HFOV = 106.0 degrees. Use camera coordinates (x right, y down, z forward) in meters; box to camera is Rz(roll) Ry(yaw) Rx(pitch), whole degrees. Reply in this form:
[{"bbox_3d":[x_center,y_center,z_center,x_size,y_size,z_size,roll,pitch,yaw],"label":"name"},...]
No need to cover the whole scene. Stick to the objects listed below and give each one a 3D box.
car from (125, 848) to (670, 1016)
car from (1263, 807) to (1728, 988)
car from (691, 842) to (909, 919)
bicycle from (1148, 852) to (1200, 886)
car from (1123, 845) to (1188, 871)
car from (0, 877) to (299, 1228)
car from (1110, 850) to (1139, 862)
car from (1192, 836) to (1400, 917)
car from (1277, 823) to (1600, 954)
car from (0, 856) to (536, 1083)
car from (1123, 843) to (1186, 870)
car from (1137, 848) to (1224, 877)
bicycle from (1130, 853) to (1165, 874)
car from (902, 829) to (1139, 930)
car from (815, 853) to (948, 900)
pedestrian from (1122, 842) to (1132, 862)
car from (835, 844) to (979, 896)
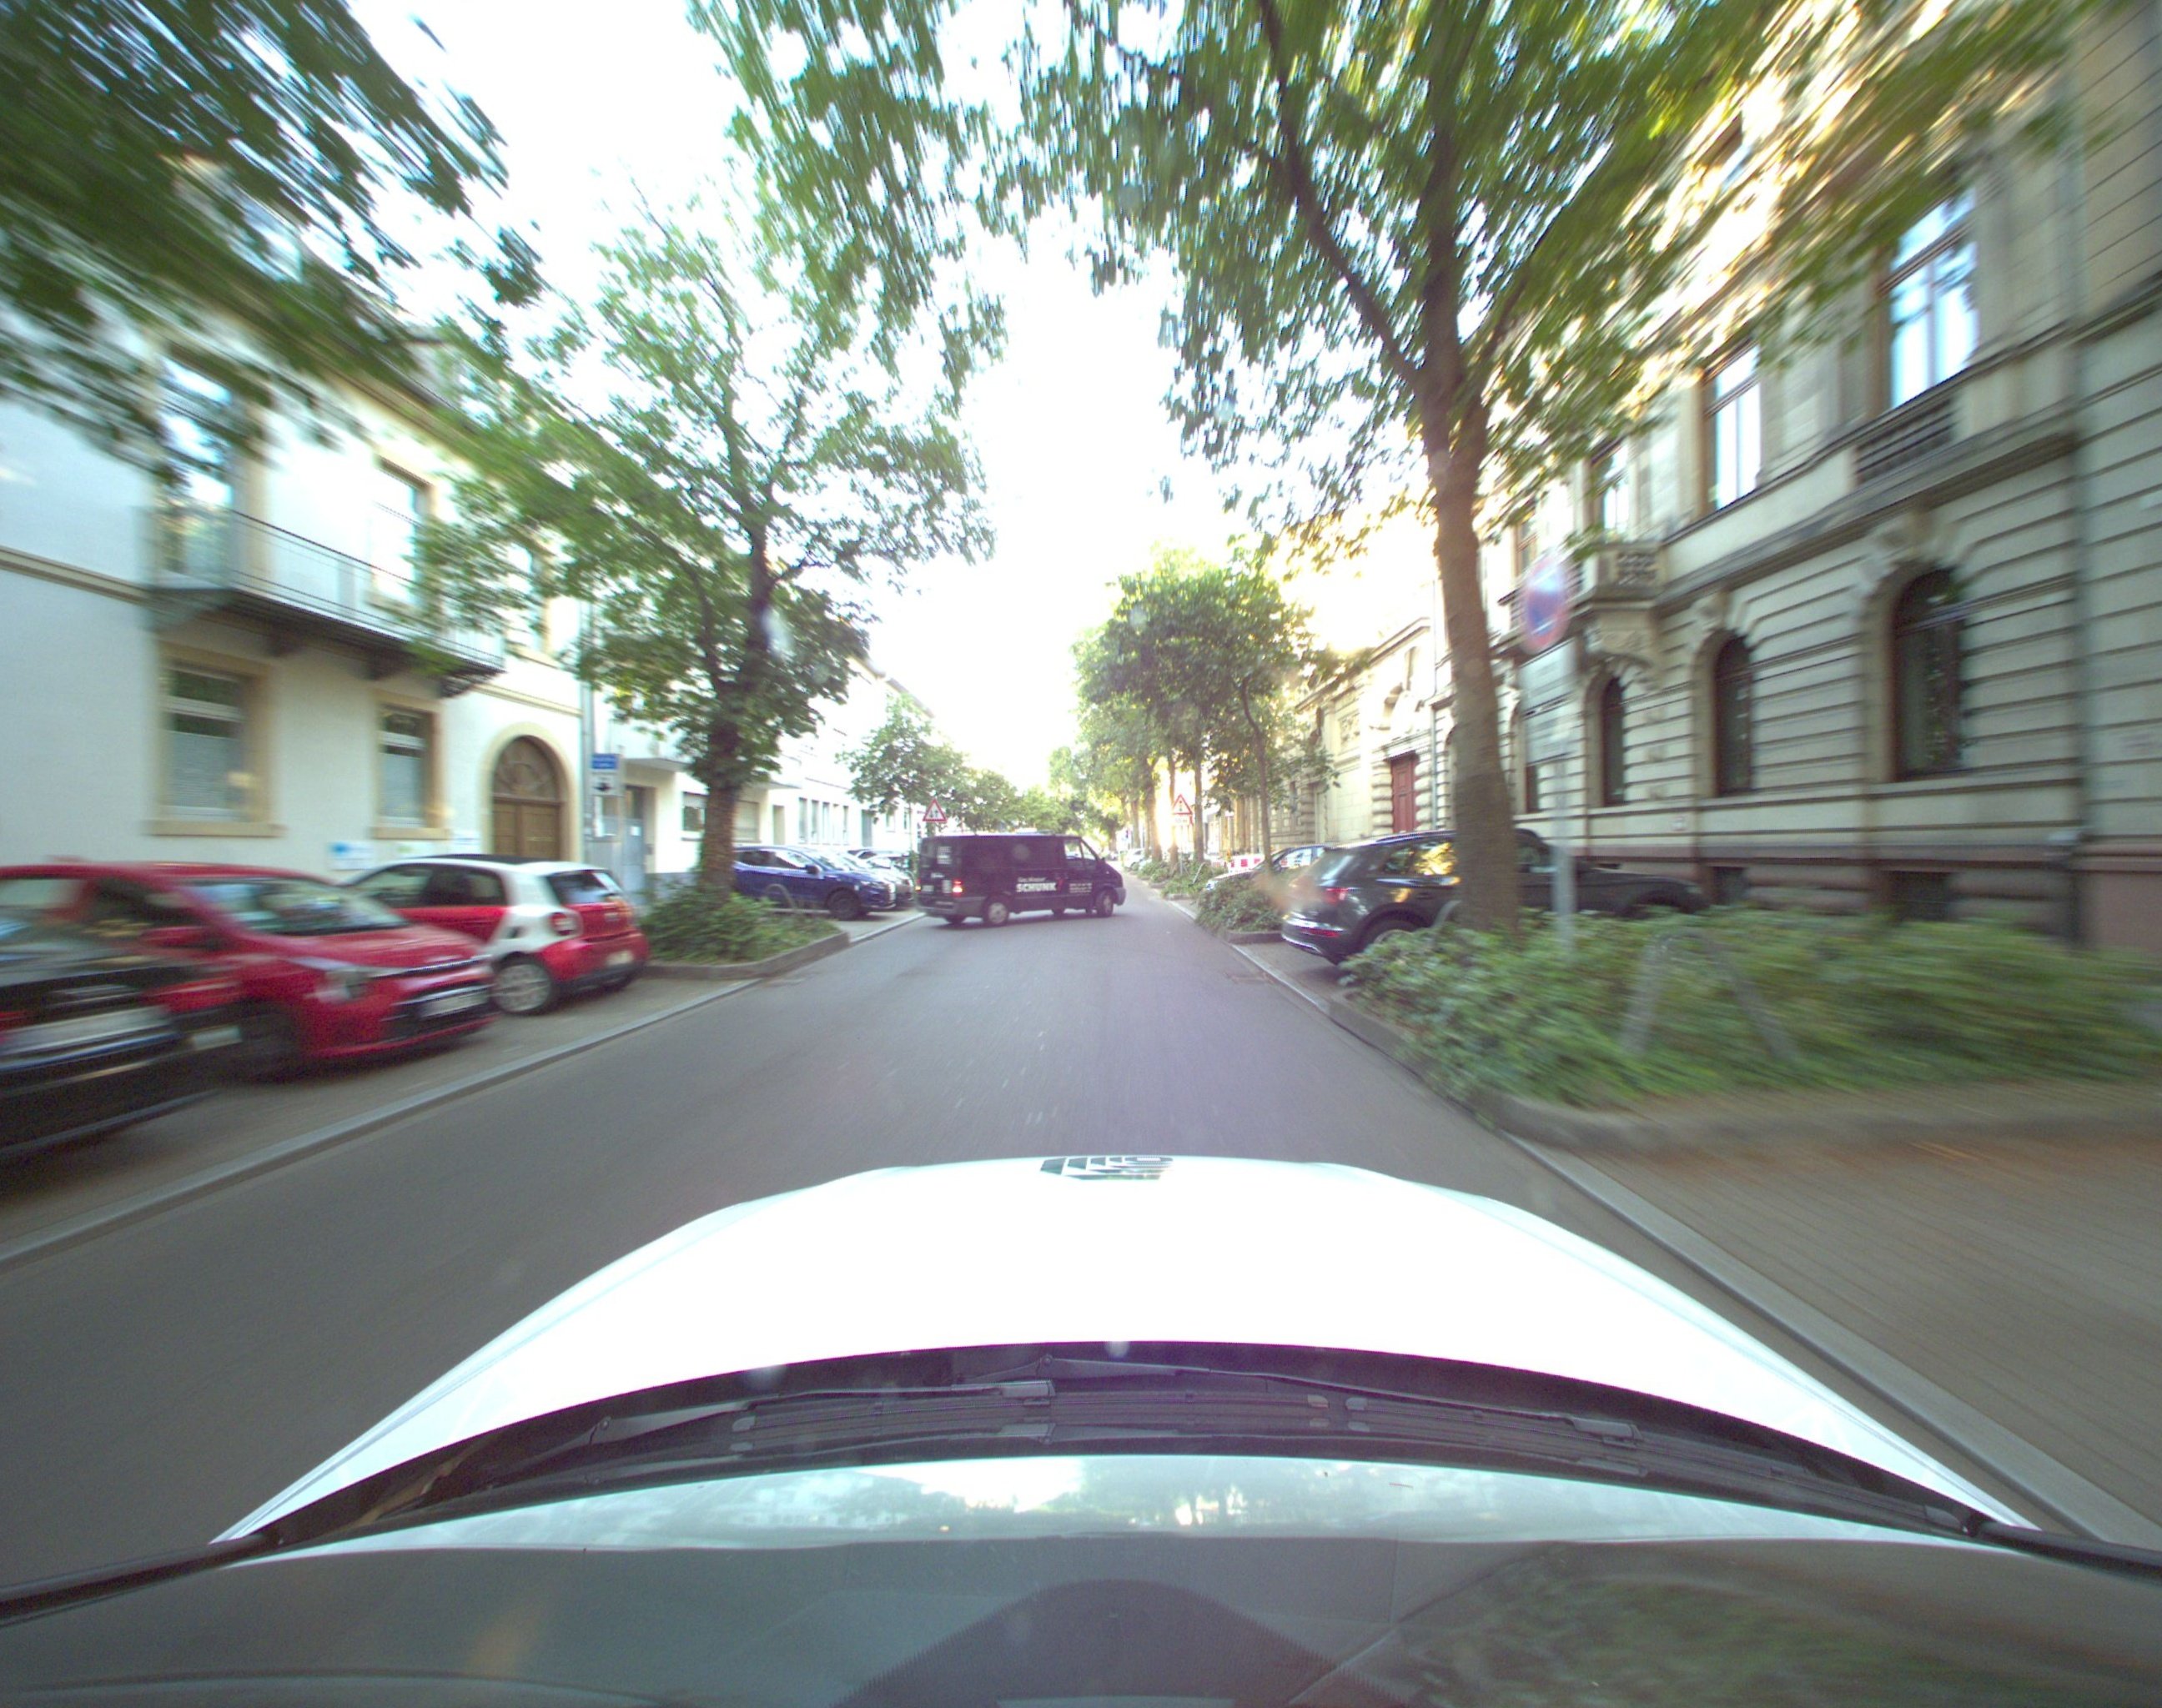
[{"bbox_3d":[-7.112,0.772,8.829,4.339,1.539,1.772,1,-1,0],"label":"car"},{"bbox_3d":[4.585,0.468,9.574,4.425,1.717,1.968,-2,-1,0],"label":"car"},{"bbox_3d":[-6.422,0.587,18.979,4.339,1.573,1.931,2,0,0],"label":"car"},{"bbox_3d":[3.781,0.603,33.087,2.040,1.360,0.508,0,0,-2],"label":"bicycle"},{"bbox_3d":[5.004,0.257,54.911,4.206,1.560,1.973,-2,1,3],"label":"car"},{"bbox_3d":[-6.649,0.811,3.655,4.414,1.407,1.716,1,-1,-3],"label":"car"},{"bbox_3d":[6.455,0.291,121.107,4.178,1.480,1.852,-3,0,0],"label":"car"},{"bbox_3d":[4.796,0.486,18.638,4.209,1.481,1.855,-4,0,0],"label":"car"},{"bbox_3d":[5.108,0.463,12.049,3.994,1.687,1.765,-2,0,0],"label":"car"},{"bbox_3d":[-6.653,0.780,6.322,3.671,1.449,1.659,1,0,0],"label":"car"},{"bbox_3d":[5.602,0.167,62.522,4.528,1.914,1.949,-2,0,-2],"label":"car"},{"bbox_3d":[5.419,0.444,44.631,4.565,1.437,1.926,-1,0,2],"label":"car"},{"bbox_3d":[4.101,0.583,50.102,2.021,1.204,0.486,-3,0,-12],"label":"bicycle"},{"bbox_3d":[-1.277,0.462,18.604,5.030,1.990,2.165,-1,1,-38],"label":"car"},{"bbox_3d":[-6.426,0.702,26.577,3.832,1.450,1.855,0,1,0],"label":"car"},{"bbox_3d":[4.742,-0.206,84.552,1.039,2.146,1.064,0,-1,1],"label":"pedestrian"},{"bbox_3d":[-6.150,0.551,29.212,4.650,1.765,2.156,0,0,0],"label":"car"}]
